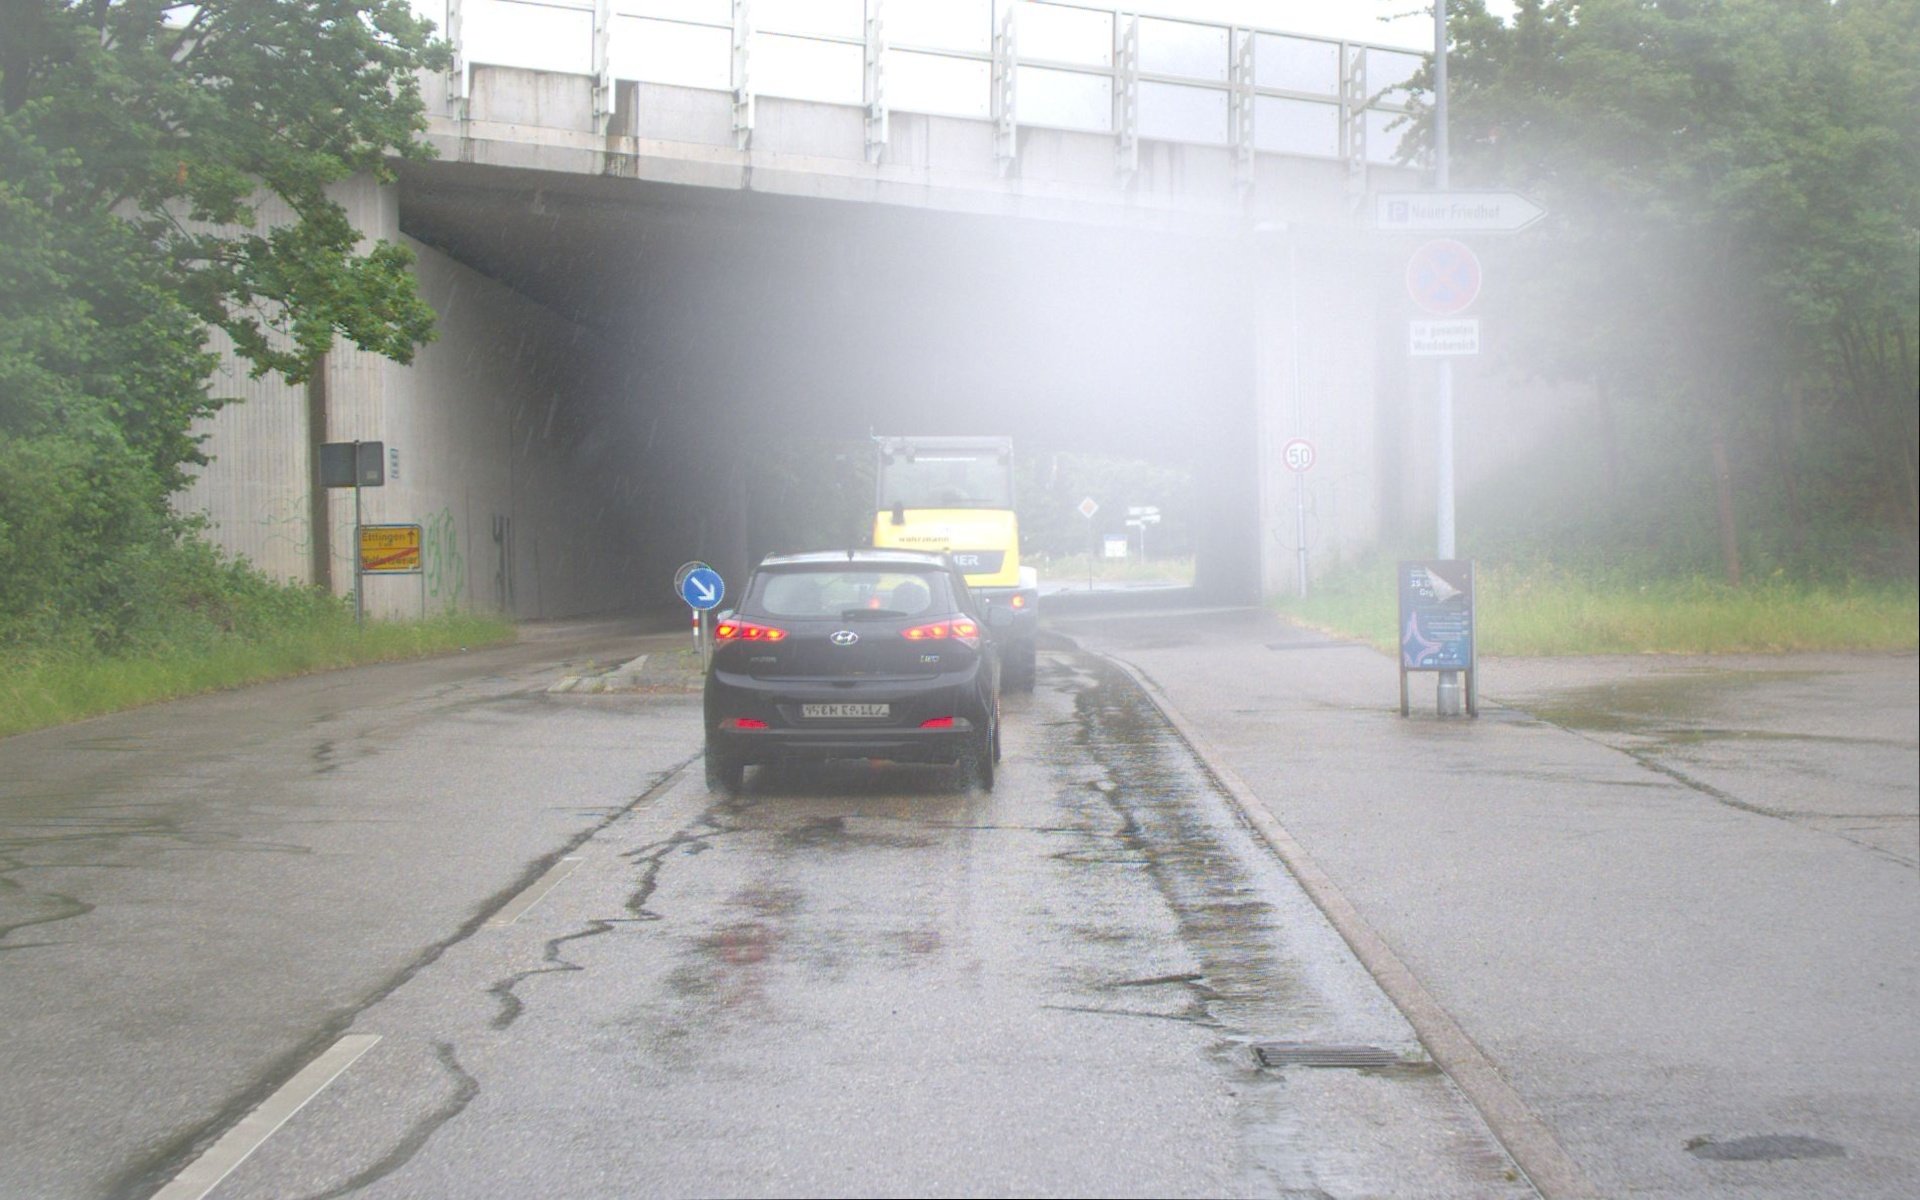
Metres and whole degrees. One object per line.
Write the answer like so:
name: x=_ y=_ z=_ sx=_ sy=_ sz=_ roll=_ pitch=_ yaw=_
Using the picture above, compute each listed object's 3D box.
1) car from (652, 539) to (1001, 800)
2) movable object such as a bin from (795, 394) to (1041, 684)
car: x=-0.794 y=0.382 z=21.874 sx=1.993 sy=1.482 sz=4.000 roll=1 pitch=1 yaw=-1
movable object such as a bin: x=-0.427 y=-0.598 z=35.249 sx=2.245 sy=2.660 sz=6.627 roll=1 pitch=1 yaw=-1
